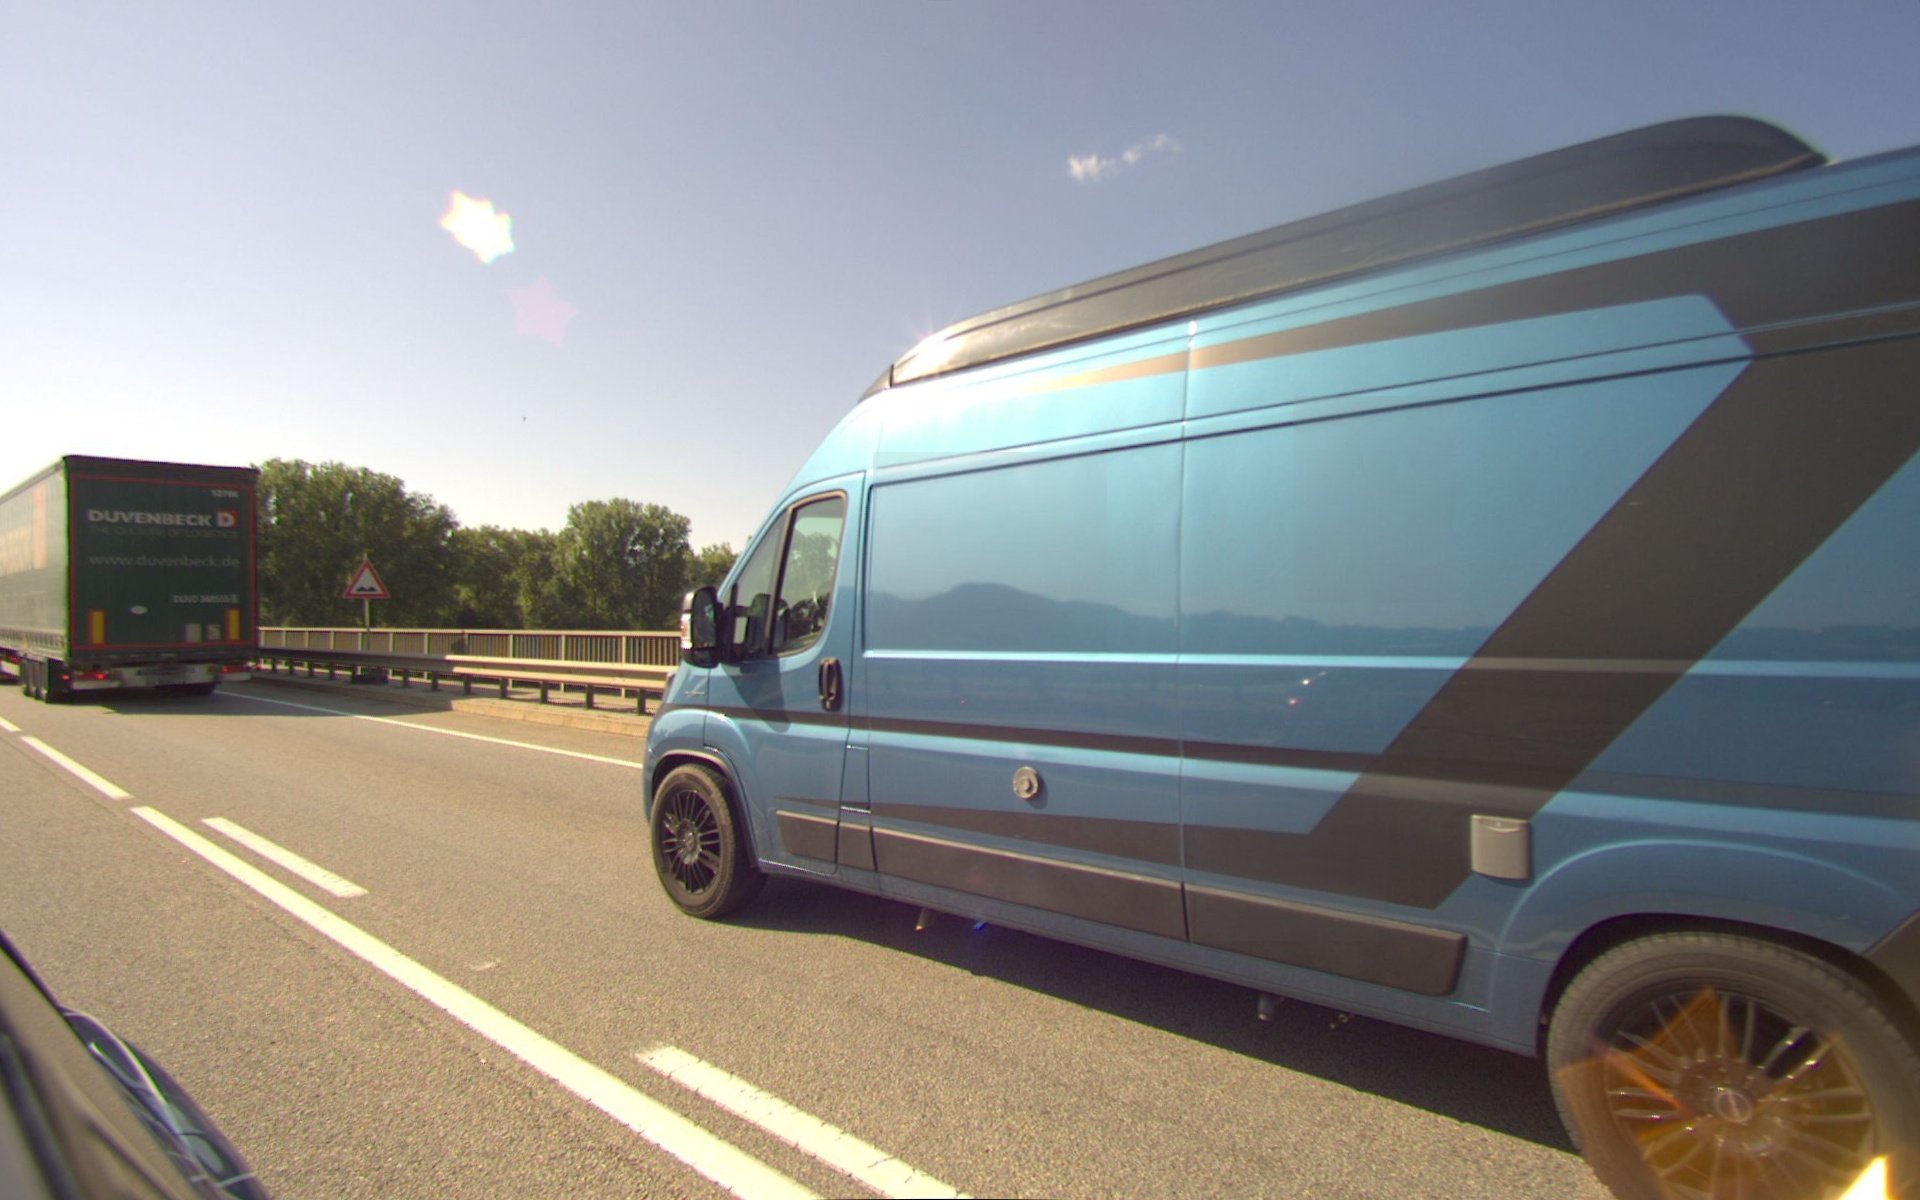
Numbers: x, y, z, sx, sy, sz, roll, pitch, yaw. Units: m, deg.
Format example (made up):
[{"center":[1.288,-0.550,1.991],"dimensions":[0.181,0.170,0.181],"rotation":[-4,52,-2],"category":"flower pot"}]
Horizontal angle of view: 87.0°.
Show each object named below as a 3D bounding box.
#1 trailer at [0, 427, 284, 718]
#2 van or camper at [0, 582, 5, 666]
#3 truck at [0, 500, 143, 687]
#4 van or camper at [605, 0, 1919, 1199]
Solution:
[{"center":[-17.830,-0.272,20.947],"dimensions":[14.296,4.335,2.877],"rotation":[-2,-1,42],"category":"trailer"},{"center":[-38.657,0.948,38.970],"dimensions":[6.816,3.074,2.290],"rotation":[-2,-1,43],"category":"van or camper"},{"center":[-23.018,-0.101,25.556],"dimensions":[5.712,4.216,2.877],"rotation":[-2,-1,42],"category":"truck"},{"center":[1.412,0.133,3.921],"dimensions":[6.400,2.662,2.405],"rotation":[-2,-1,41],"category":"van or camper"}]
